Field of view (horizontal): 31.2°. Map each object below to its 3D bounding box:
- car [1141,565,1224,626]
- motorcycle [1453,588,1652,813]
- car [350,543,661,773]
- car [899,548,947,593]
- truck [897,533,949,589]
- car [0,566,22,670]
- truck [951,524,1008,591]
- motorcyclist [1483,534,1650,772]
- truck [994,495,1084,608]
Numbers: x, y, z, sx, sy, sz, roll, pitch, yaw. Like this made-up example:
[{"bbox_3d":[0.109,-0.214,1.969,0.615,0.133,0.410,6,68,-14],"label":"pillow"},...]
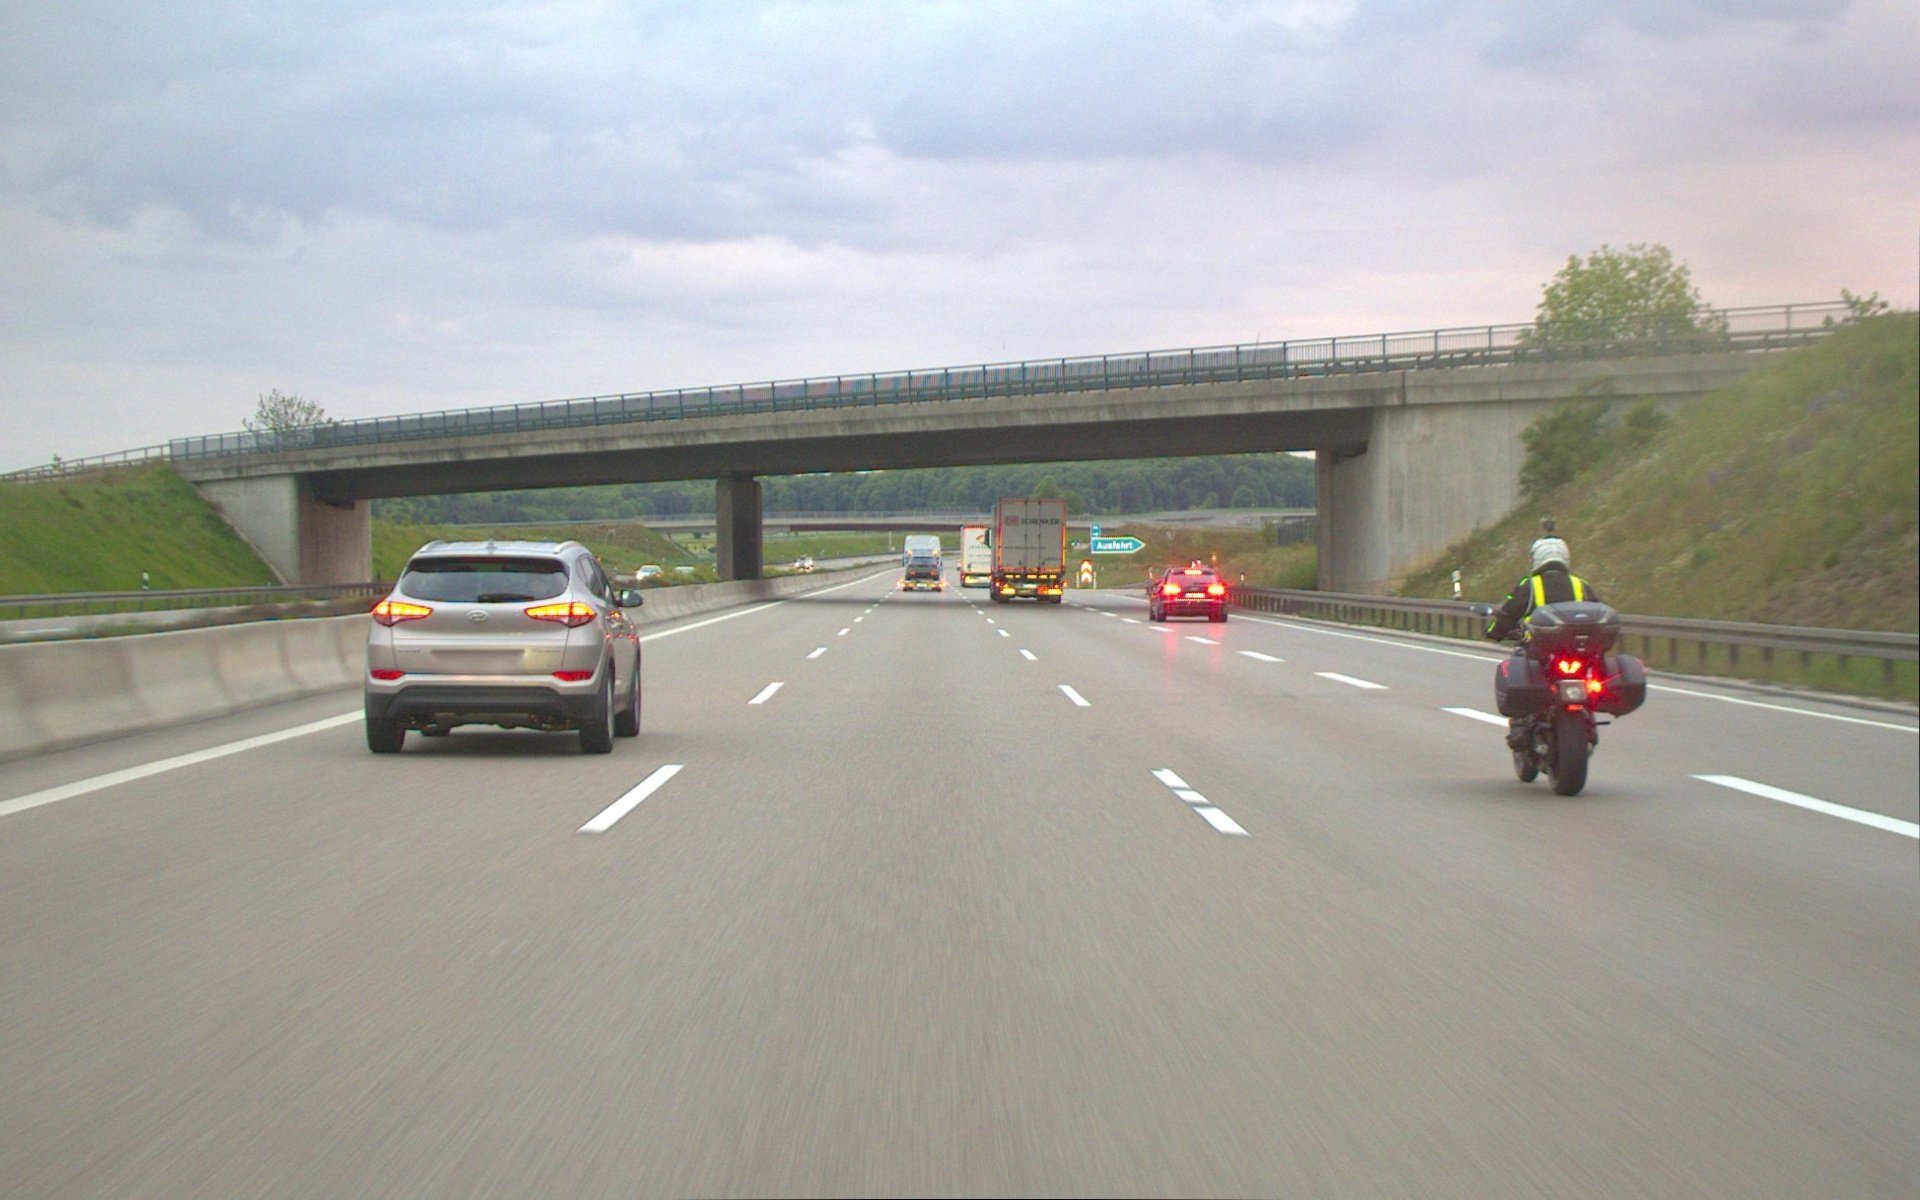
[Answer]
[{"bbox_3d":[5.971,-0.130,92.634,1.918,1.574,4.000,0,1,-1],"label":"car"},{"bbox_3d":[3.852,0.622,22.561,0.902,1.342,2.349,0,2,0],"label":"motorcycle"},{"bbox_3d":[-3.581,0.386,28.043,1.852,1.687,5.512,0,1,0],"label":"car"},{"bbox_3d":[-2.017,-1.627,186.882,2.516,2.383,6.497,0,1,-1],"label":"car"},{"bbox_3d":[-2.227,-2.335,203.195,2.951,3.206,8.406,1,1,-1],"label":"truck"},{"bbox_3d":[-15.971,0.291,53.181,1.819,1.623,4.000,0,1,0],"label":"car"},{"bbox_3d":[1.240,-2.844,227.826,3.525,4.330,8.406,1,1,-1],"label":"truck"},{"bbox_3d":[3.910,0.324,22.254,0.866,1.482,1.168,1,1,1],"label":"motorcyclist"},{"bbox_3d":[3.038,-1.928,134.496,3.234,4.213,9.599,1,1,0],"label":"truck"}]
